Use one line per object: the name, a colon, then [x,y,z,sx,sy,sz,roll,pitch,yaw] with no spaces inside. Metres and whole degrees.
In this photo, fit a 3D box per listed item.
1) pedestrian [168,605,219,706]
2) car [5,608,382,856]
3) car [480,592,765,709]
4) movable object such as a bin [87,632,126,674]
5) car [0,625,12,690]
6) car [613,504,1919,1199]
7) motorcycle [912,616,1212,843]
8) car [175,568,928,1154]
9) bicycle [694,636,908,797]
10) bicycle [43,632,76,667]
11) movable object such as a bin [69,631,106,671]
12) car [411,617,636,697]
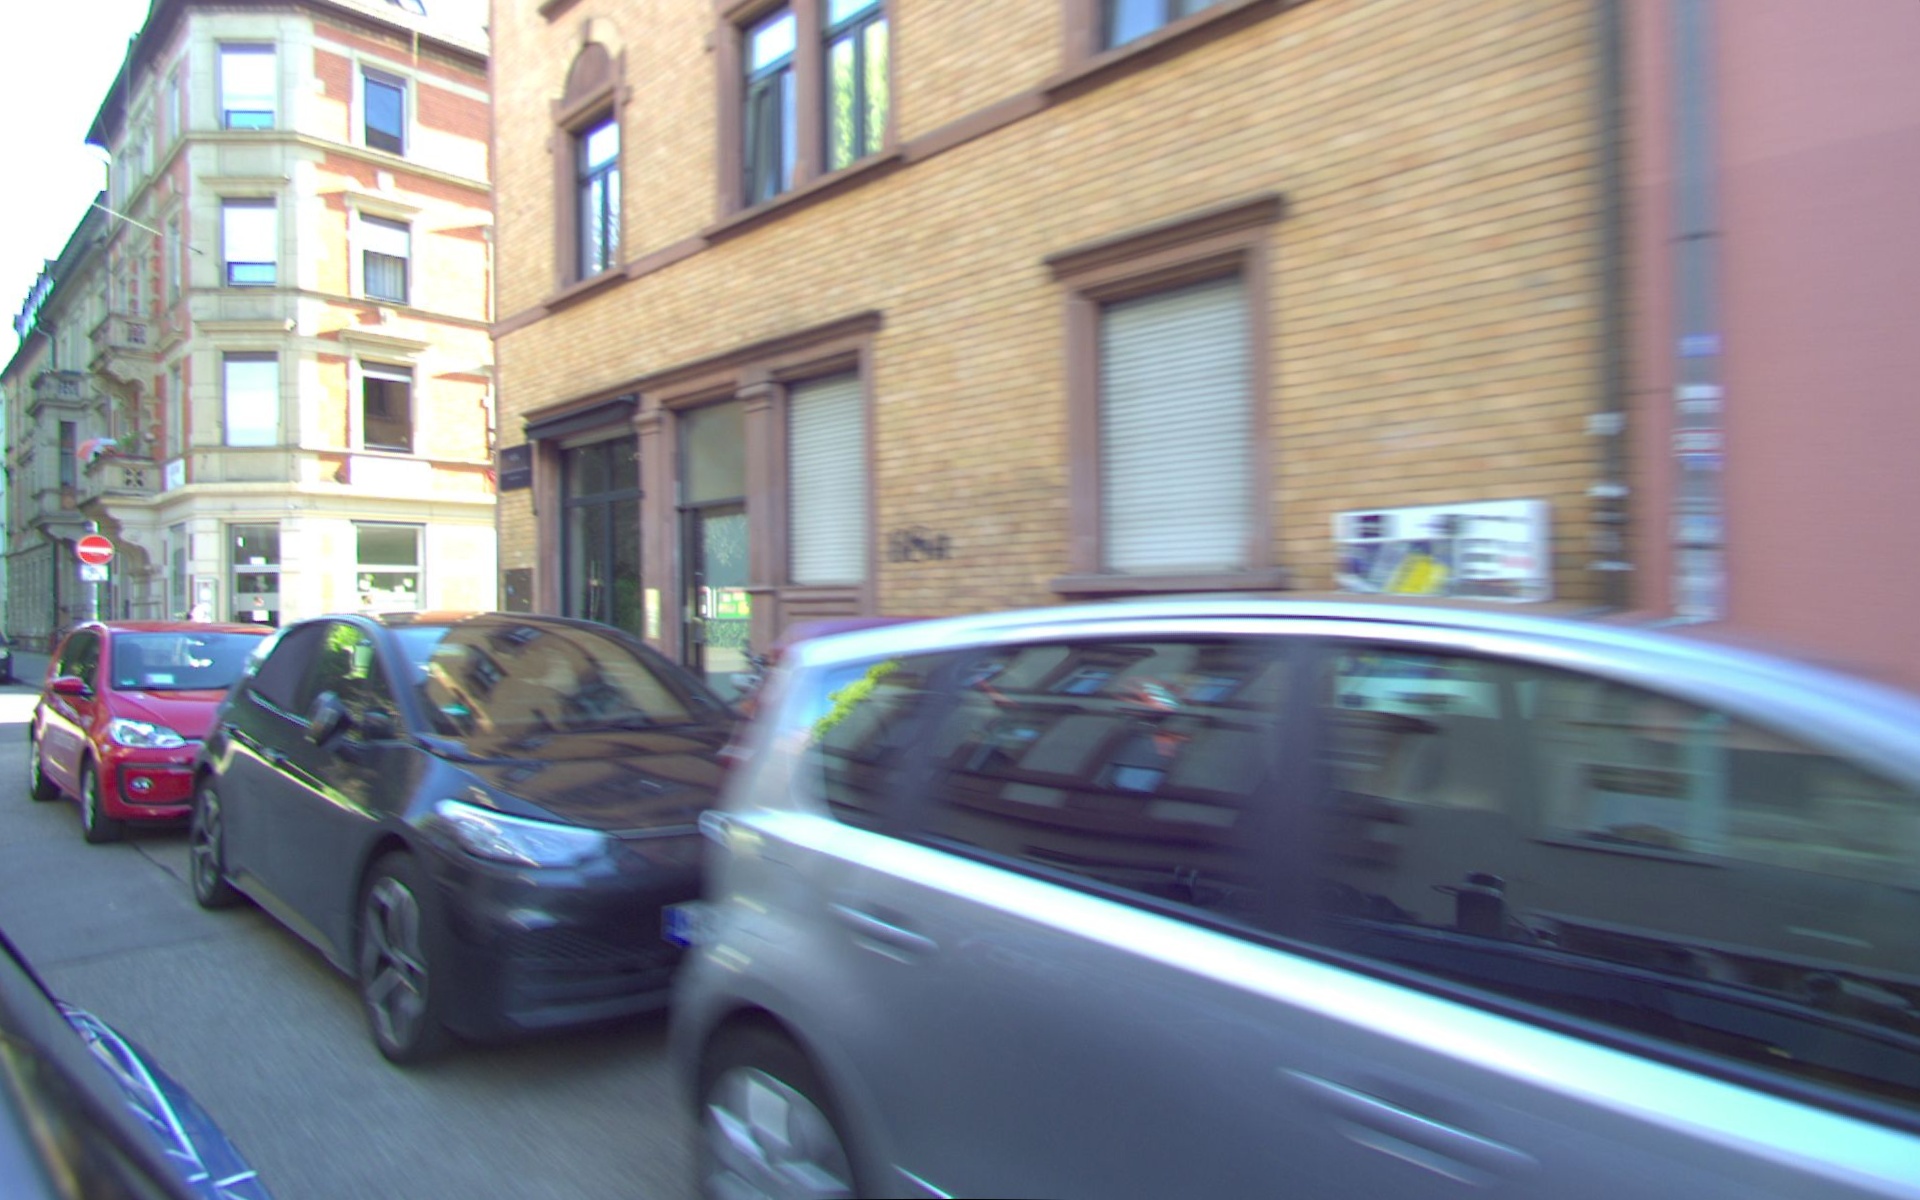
pedestrian: [-13.050,0.917,17.227,0.717,1.656,0.542,1,1,41]
car: [-6.085,0.857,7.902,3.599,1.492,1.611,-2,-3,41]
car: [-6.191,0.824,18.930,4.655,1.908,2.029,0,1,-43]
movable object such as a bin: [-22.520,1.376,26.688,0.856,1.049,0.631,-1,1,41]
car: [-23.952,1.333,24.039,3.971,1.492,1.675,-2,-3,41]
car: [1.157,0.714,1.701,3.944,1.533,1.638,-2,-3,43]
motorcycle: [0.567,0.721,6.303,1.908,1.215,0.527,-2,-1,42]
car: [-2.181,0.754,4.700,4.096,1.533,1.676,-2,-3,43]
bicycle: [-1.292,0.851,7.950,1.890,1.082,0.528,-1,3,42]
bicycle: [-28.290,1.547,31.790,1.545,1.049,0.565,-1,1,41]
movable object such as a bin: [-24.243,1.418,28.125,0.856,1.049,0.631,-1,1,41]
car: [-9.905,1.224,23.182,4.374,1.542,1.869,0,1,-43]
